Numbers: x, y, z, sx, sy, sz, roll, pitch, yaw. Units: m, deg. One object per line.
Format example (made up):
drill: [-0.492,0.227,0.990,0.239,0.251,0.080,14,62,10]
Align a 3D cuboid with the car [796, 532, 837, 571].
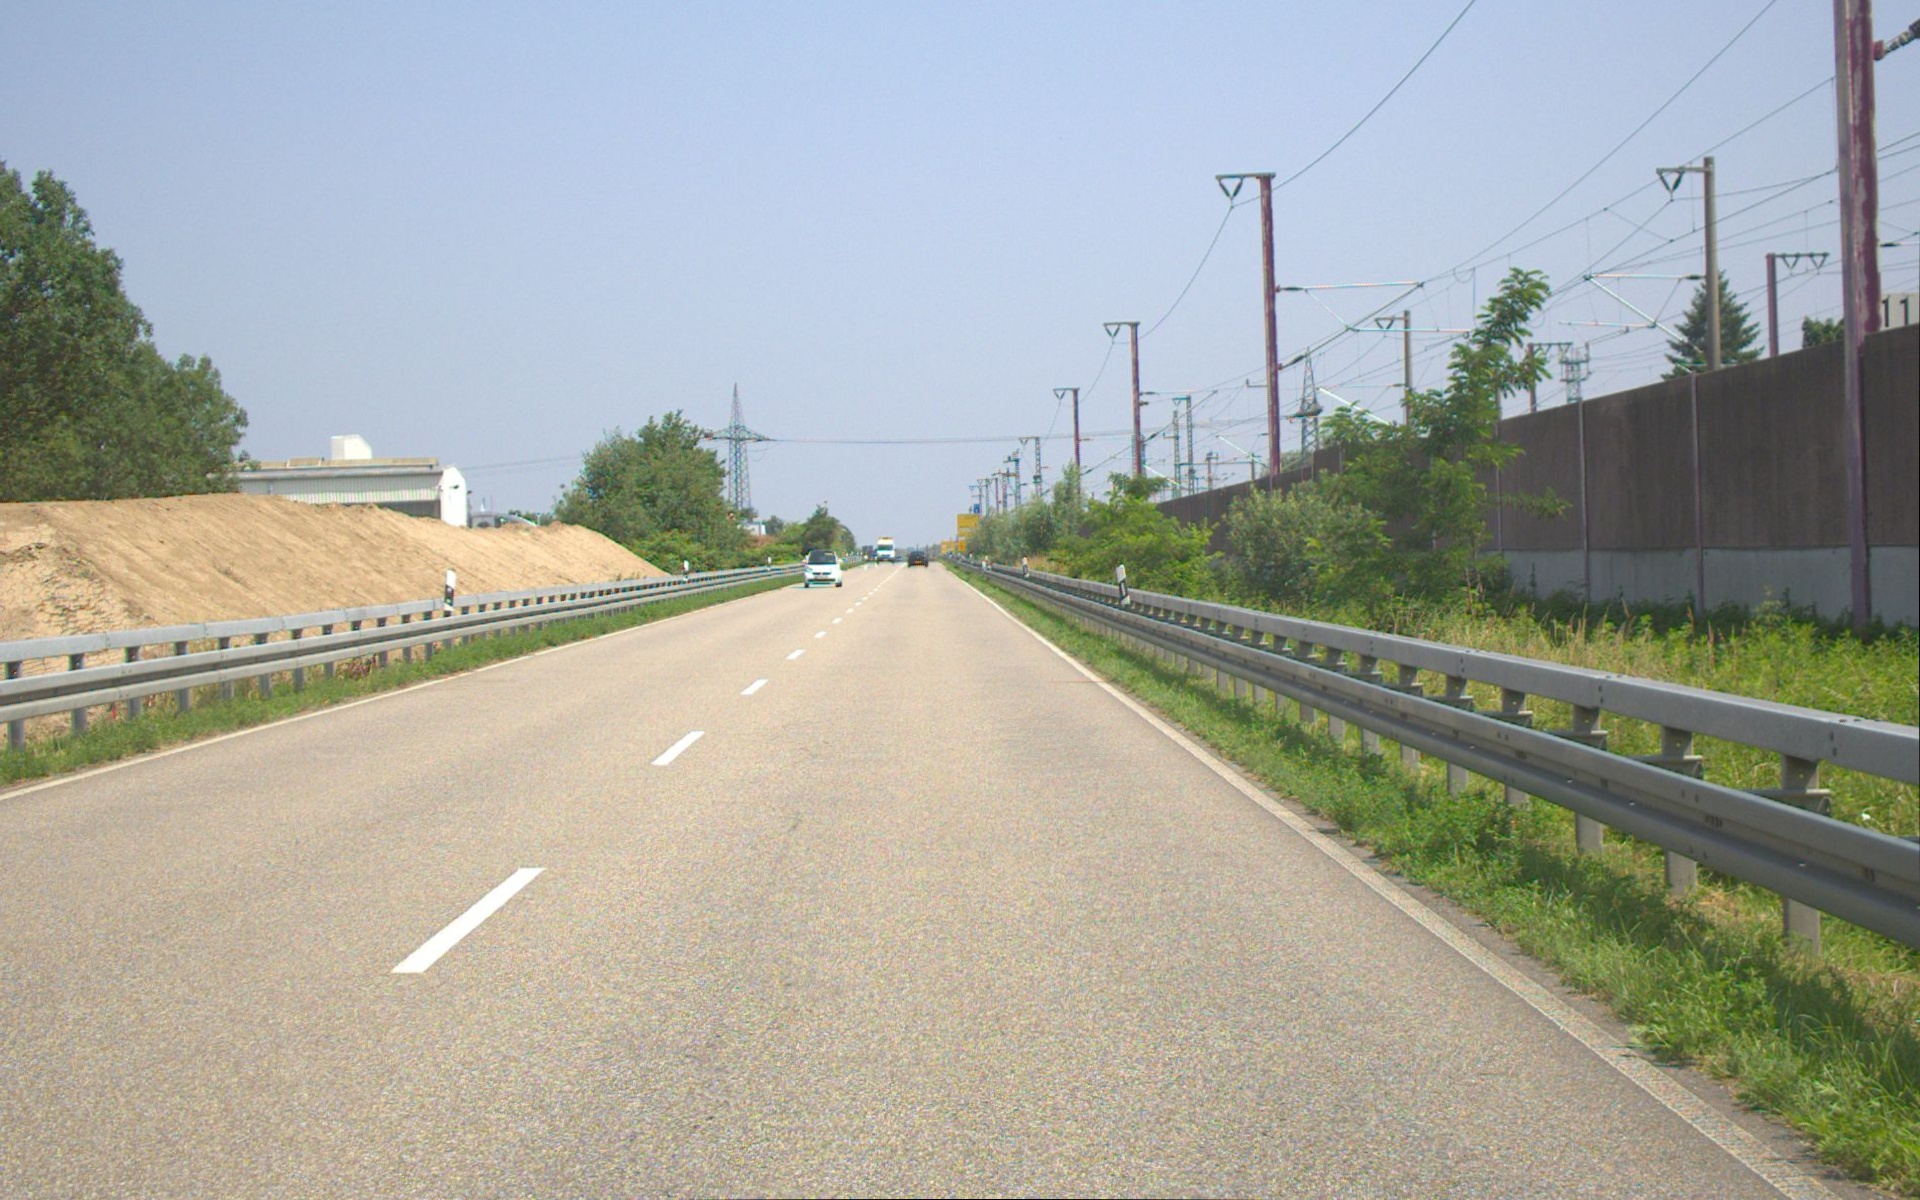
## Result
car: [-6.016,-2.042,144.436,1.595,1.571,3.828,-1,1,-1]
